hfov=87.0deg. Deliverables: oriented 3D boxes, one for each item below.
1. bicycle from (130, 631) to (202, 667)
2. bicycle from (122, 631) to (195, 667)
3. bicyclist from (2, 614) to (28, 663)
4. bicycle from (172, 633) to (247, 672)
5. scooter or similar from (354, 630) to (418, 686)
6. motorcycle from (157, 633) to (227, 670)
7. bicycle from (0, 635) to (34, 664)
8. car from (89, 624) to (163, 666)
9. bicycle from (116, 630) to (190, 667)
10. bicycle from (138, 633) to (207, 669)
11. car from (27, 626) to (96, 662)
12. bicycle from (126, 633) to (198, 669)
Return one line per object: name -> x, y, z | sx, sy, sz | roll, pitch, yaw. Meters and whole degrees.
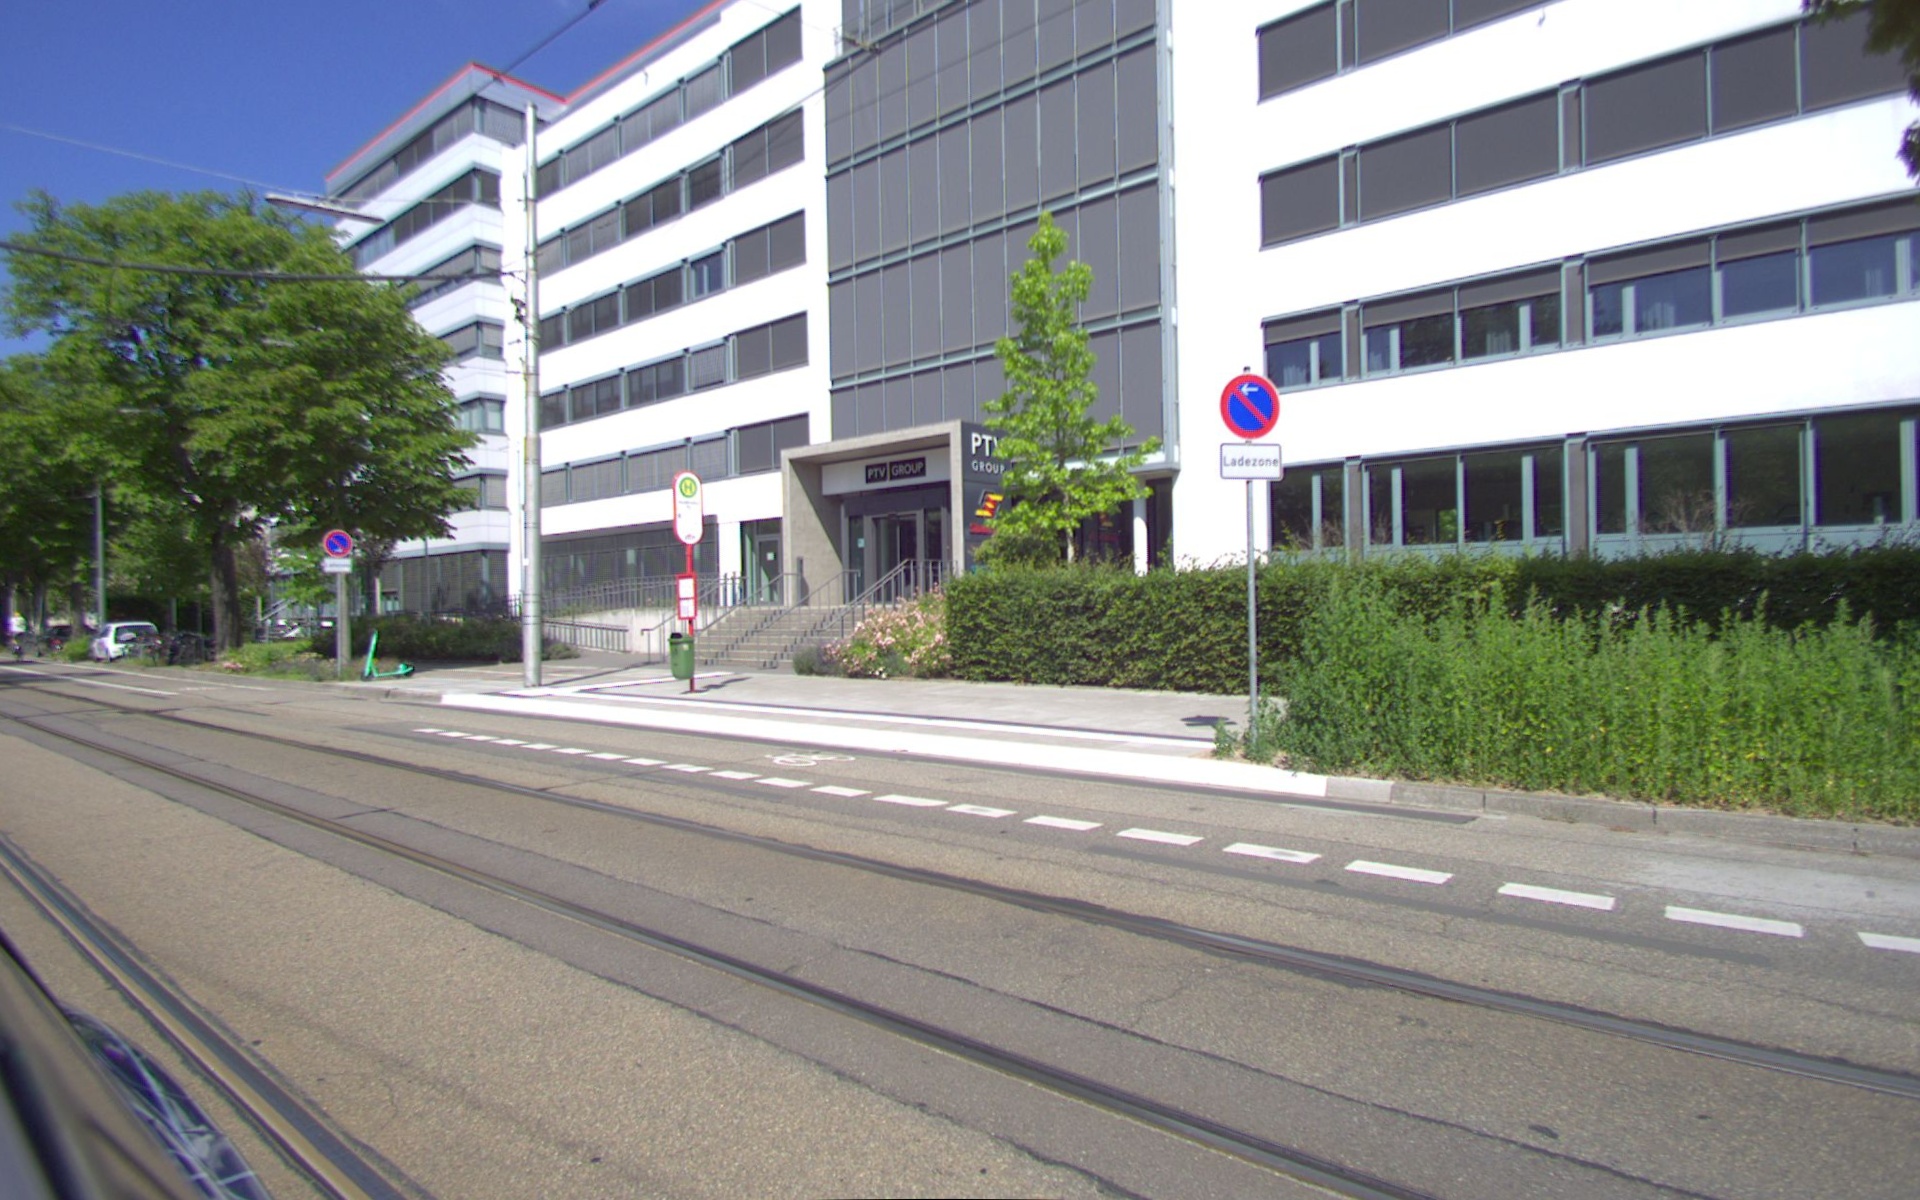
bicycle -> -26.689, 1.627, 34.031 | 0.726, 1.094, 1.775 | -2, 0, 39
bicycle -> -27.579, 1.675, 34.848 | 0.685, 1.150, 1.854 | -2, -1, 39
bicyclist -> -37.479, 1.527, 40.133 | 1.023, 1.885, 0.629 | -2, -1, 40
bicycle -> -23.162, 1.609, 31.243 | 0.788, 1.094, 1.707 | -2, 0, 39
scooter or similar -> -12.948, 1.291, 22.840 | 0.676, 1.175, 1.114 | -2, -1, 43
motorcycle -> -24.814, 1.639, 32.715 | 0.658, 1.094, 1.707 | -2, -1, 39
bicycle -> -37.471, 1.955, 40.114 | 2.137, 1.118, 0.847 | -2, -1, 40
car -> -31.268, 1.660, 37.923 | 3.629, 1.483, 1.613 | -2, -1, 42
bicycle -> -28.090, 1.668, 35.244 | 0.818, 1.178, 1.885 | -2, 0, 39
bicycle -> -26.011, 1.681, 33.458 | 0.639, 1.094, 1.707 | -2, -1, 39
car -> -40.737, 1.967, 45.833 | 4.267, 1.494, 1.614 | -2, -1, 38
bicycle -> -27.092, 1.710, 34.371 | 0.680, 1.140, 1.830 | -2, -1, 39
